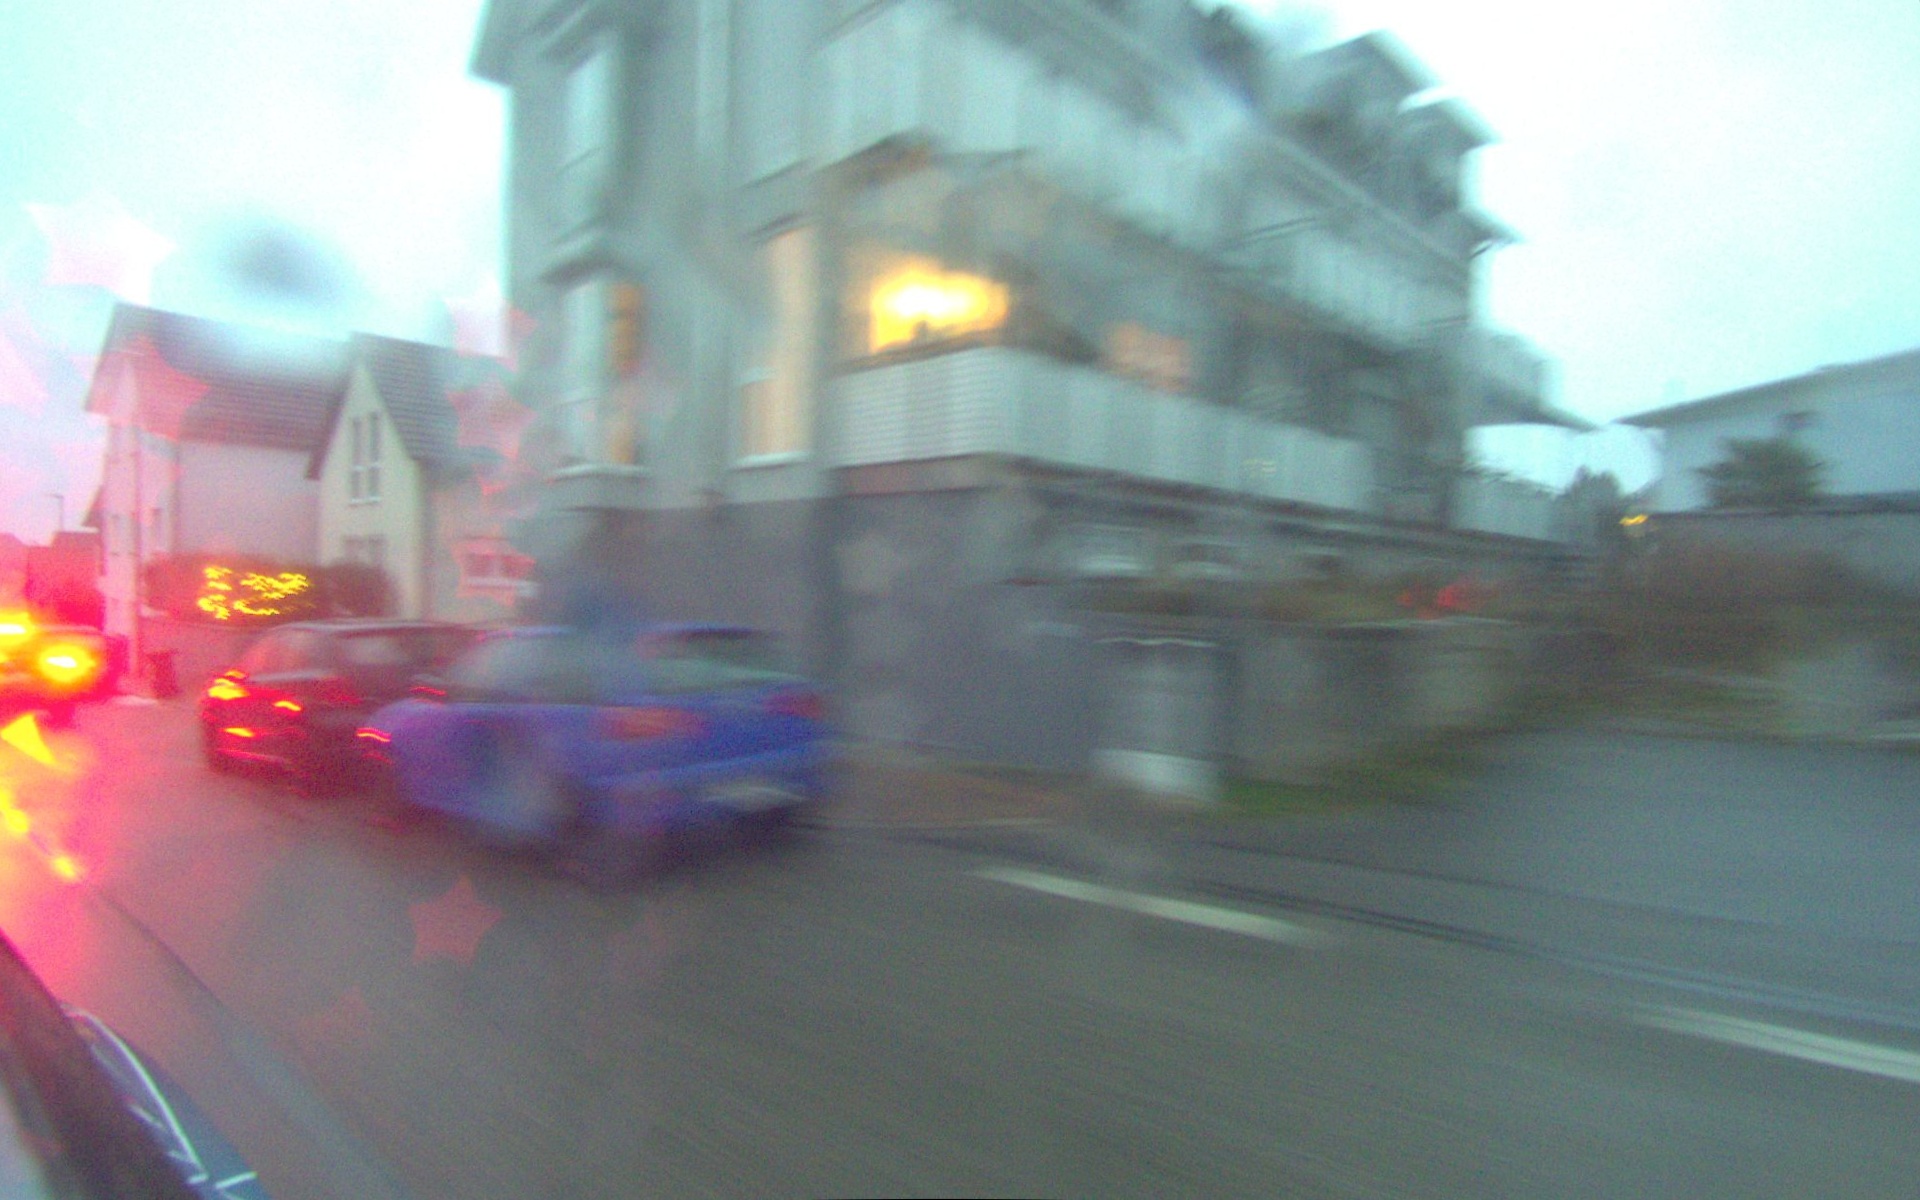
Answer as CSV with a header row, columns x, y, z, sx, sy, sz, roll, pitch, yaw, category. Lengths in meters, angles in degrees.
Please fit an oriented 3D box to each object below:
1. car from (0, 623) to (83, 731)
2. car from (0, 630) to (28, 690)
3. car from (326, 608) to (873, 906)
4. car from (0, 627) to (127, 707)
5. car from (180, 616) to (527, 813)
x,y,z,sx,sy,sz,roll,pitch,yaw,category
-15.045,1.118,15.332,4.372,1.507,1.757,-2,-3,37,car
-28.026,1.675,28.681,4.421,1.636,1.898,-2,-3,41,car
-2.560,0.808,6.727,3.909,1.420,1.651,-2,-2,39,car
-18.667,1.308,20.691,4.435,1.455,1.716,-2,-2,40,car
-5.744,0.899,9.425,3.688,1.428,1.648,-1,0,40,car
